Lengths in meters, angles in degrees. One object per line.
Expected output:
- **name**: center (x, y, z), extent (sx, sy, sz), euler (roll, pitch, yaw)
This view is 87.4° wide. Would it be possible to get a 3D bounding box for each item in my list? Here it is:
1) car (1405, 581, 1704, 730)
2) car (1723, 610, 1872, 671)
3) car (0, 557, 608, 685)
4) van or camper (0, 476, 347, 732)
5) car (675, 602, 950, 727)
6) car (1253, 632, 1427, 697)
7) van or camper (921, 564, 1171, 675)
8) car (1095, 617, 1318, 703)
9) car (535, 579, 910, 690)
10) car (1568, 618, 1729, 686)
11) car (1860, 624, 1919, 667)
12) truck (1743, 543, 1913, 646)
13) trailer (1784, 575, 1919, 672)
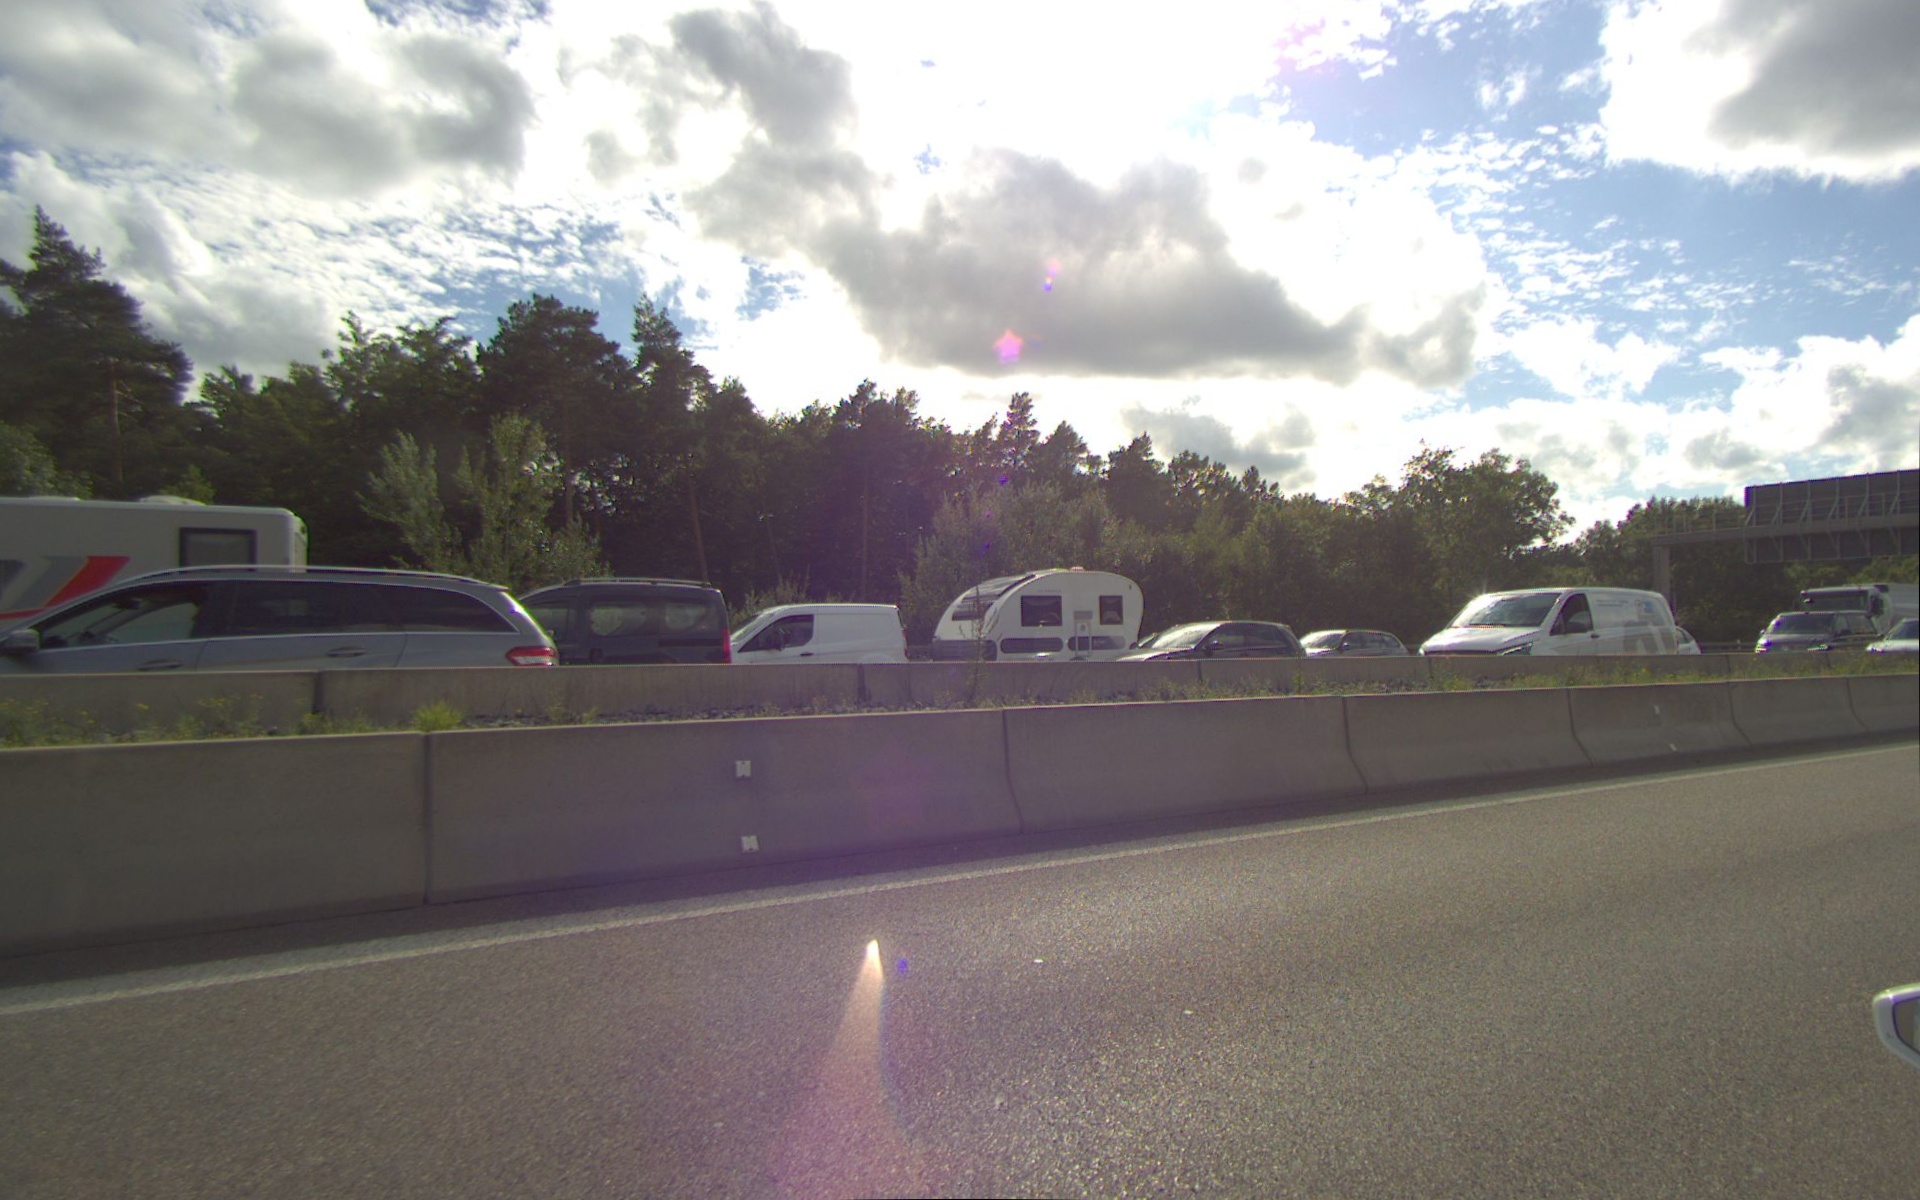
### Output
- **car**: center (9.740, 0.851, 16.306), extent (5.438, 2.089, 1.823), euler (1, -2, -31)
- **car**: center (25.200, 1.181, 30.194), extent (4.728, 1.677, 1.997), euler (1, 0, -31)
- **car**: center (-4.921, 0.137, 7.062), extent (4.396, 0.734, 1.639), euler (1, 0, -31)
- **van or camper**: center (-11.992, 0.017, 12.358), extent (7.395, 2.927, 2.458), euler (3, -1, -30)
- **car**: center (-2.543, 1.062, 17.691), extent (4.430, 1.941, 1.823), euler (1, 0, -31)
- **car**: center (9.472, 1.549, 24.943), extent (4.384, 1.409, 1.690), euler (1, 0, -31)
- **van or camper**: center (1.781, 0.397, 20.582), extent (4.633, 2.038, 2.272), euler (1, 0, -30)
- **car**: center (4.222, 0.974, 17.092), extent (3.549, 1.274, 1.654), euler (1, 0, -31)
- **car**: center (-3.074, 0.436, 13.300), extent (4.514, 1.247, 1.823), euler (1, 0, -31)
- **car**: center (17.668, 1.296, 25.732), extent (4.194, 1.558, 1.823), euler (1, 0, -31)
- **car**: center (23.974, 1.108, 24.609), extent (4.437, 0.952, 1.634), euler (1, 0, -31)
- **truck**: center (35.868, -0.125, 41.499), extent (6.723, 3.952, 3.400), euler (1, -1, -31)
- **trailer**: center (42.034, 1.051, 45.215), extent (13.107, 3.879, 3.394), euler (1, 0, -31)
